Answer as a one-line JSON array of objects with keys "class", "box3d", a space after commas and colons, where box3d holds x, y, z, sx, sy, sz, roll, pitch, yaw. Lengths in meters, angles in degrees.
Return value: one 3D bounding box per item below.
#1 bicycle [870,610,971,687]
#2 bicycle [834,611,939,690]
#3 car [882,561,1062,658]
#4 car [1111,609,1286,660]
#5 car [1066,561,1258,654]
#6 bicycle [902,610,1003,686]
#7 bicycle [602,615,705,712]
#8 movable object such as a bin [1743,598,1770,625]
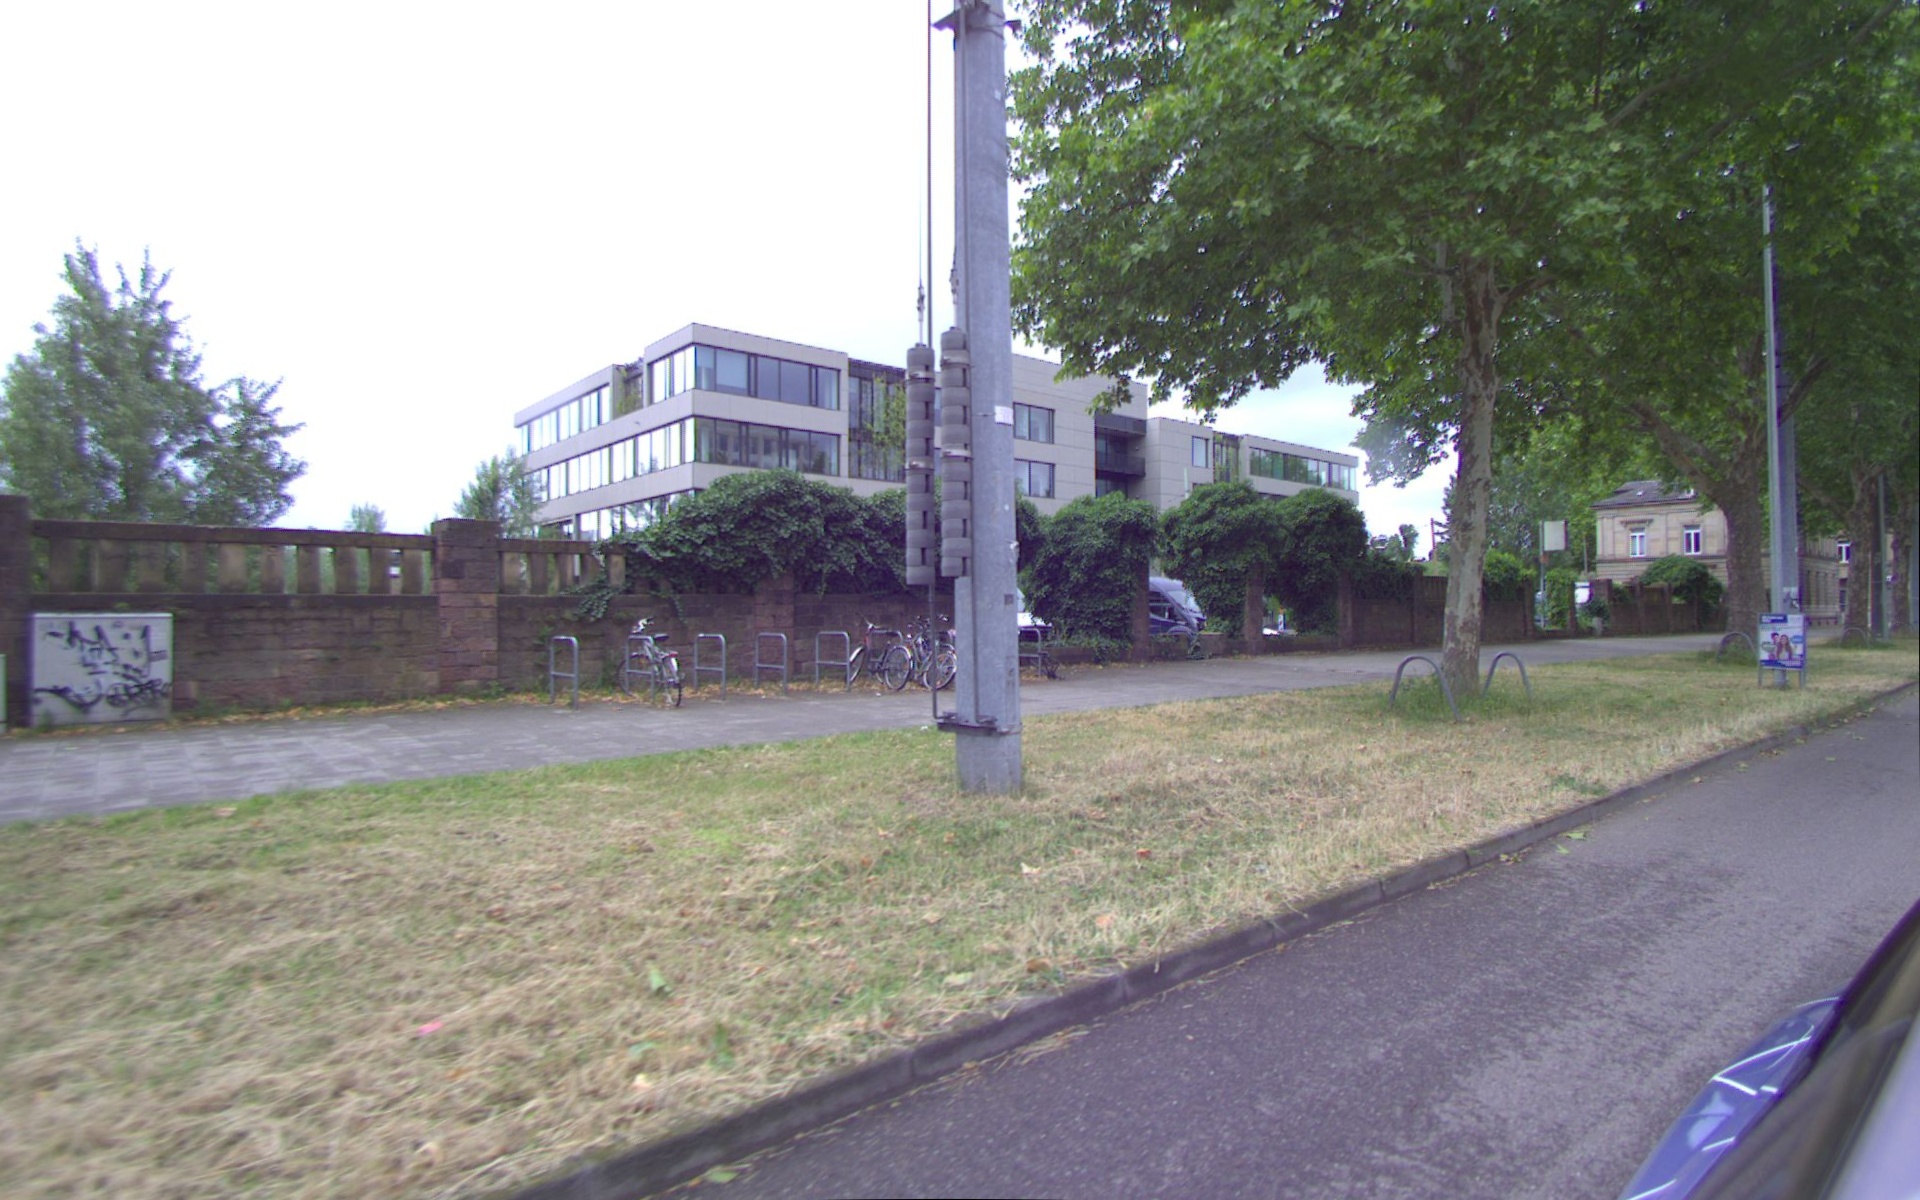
[{"class": "bicycle", "box3d": [-0.663, 0.747, 16.187, 0.540, 1.111, 1.903, 0, 1, -41]}, {"class": "bicycle", "box3d": [-1.176, 0.757, 15.822, 0.540, 1.108, 1.977, 0, 1, -41]}, {"class": "car", "box3d": [0.199, 0.285, 26.492, 1.638, 2.293, 5.100, 0, -1, -42]}, {"class": "car", "box3d": [7.336, 1.059, 31.574, 1.970, 1.429, 5.100, 0, -1, -42]}, {"class": "car", "box3d": [5.753, 0.289, 29.460, 2.040, 2.453, 5.236, 0, -2, -42]}, {"class": "bicycle", "box3d": [-0.147, 0.747, 16.463, 0.540, 1.118, 1.893, 0, 1, -41]}, {"class": "bicycle", "box3d": [-4.025, 0.785, 13.194, 0.540, 1.105, 1.924, 0, 1, -41]}, {"class": "movable object such as a bin", "box3d": [33.911, 0.474, 43.095, 0.995, 1.126, 0.613, 1, -1, -35]}]
